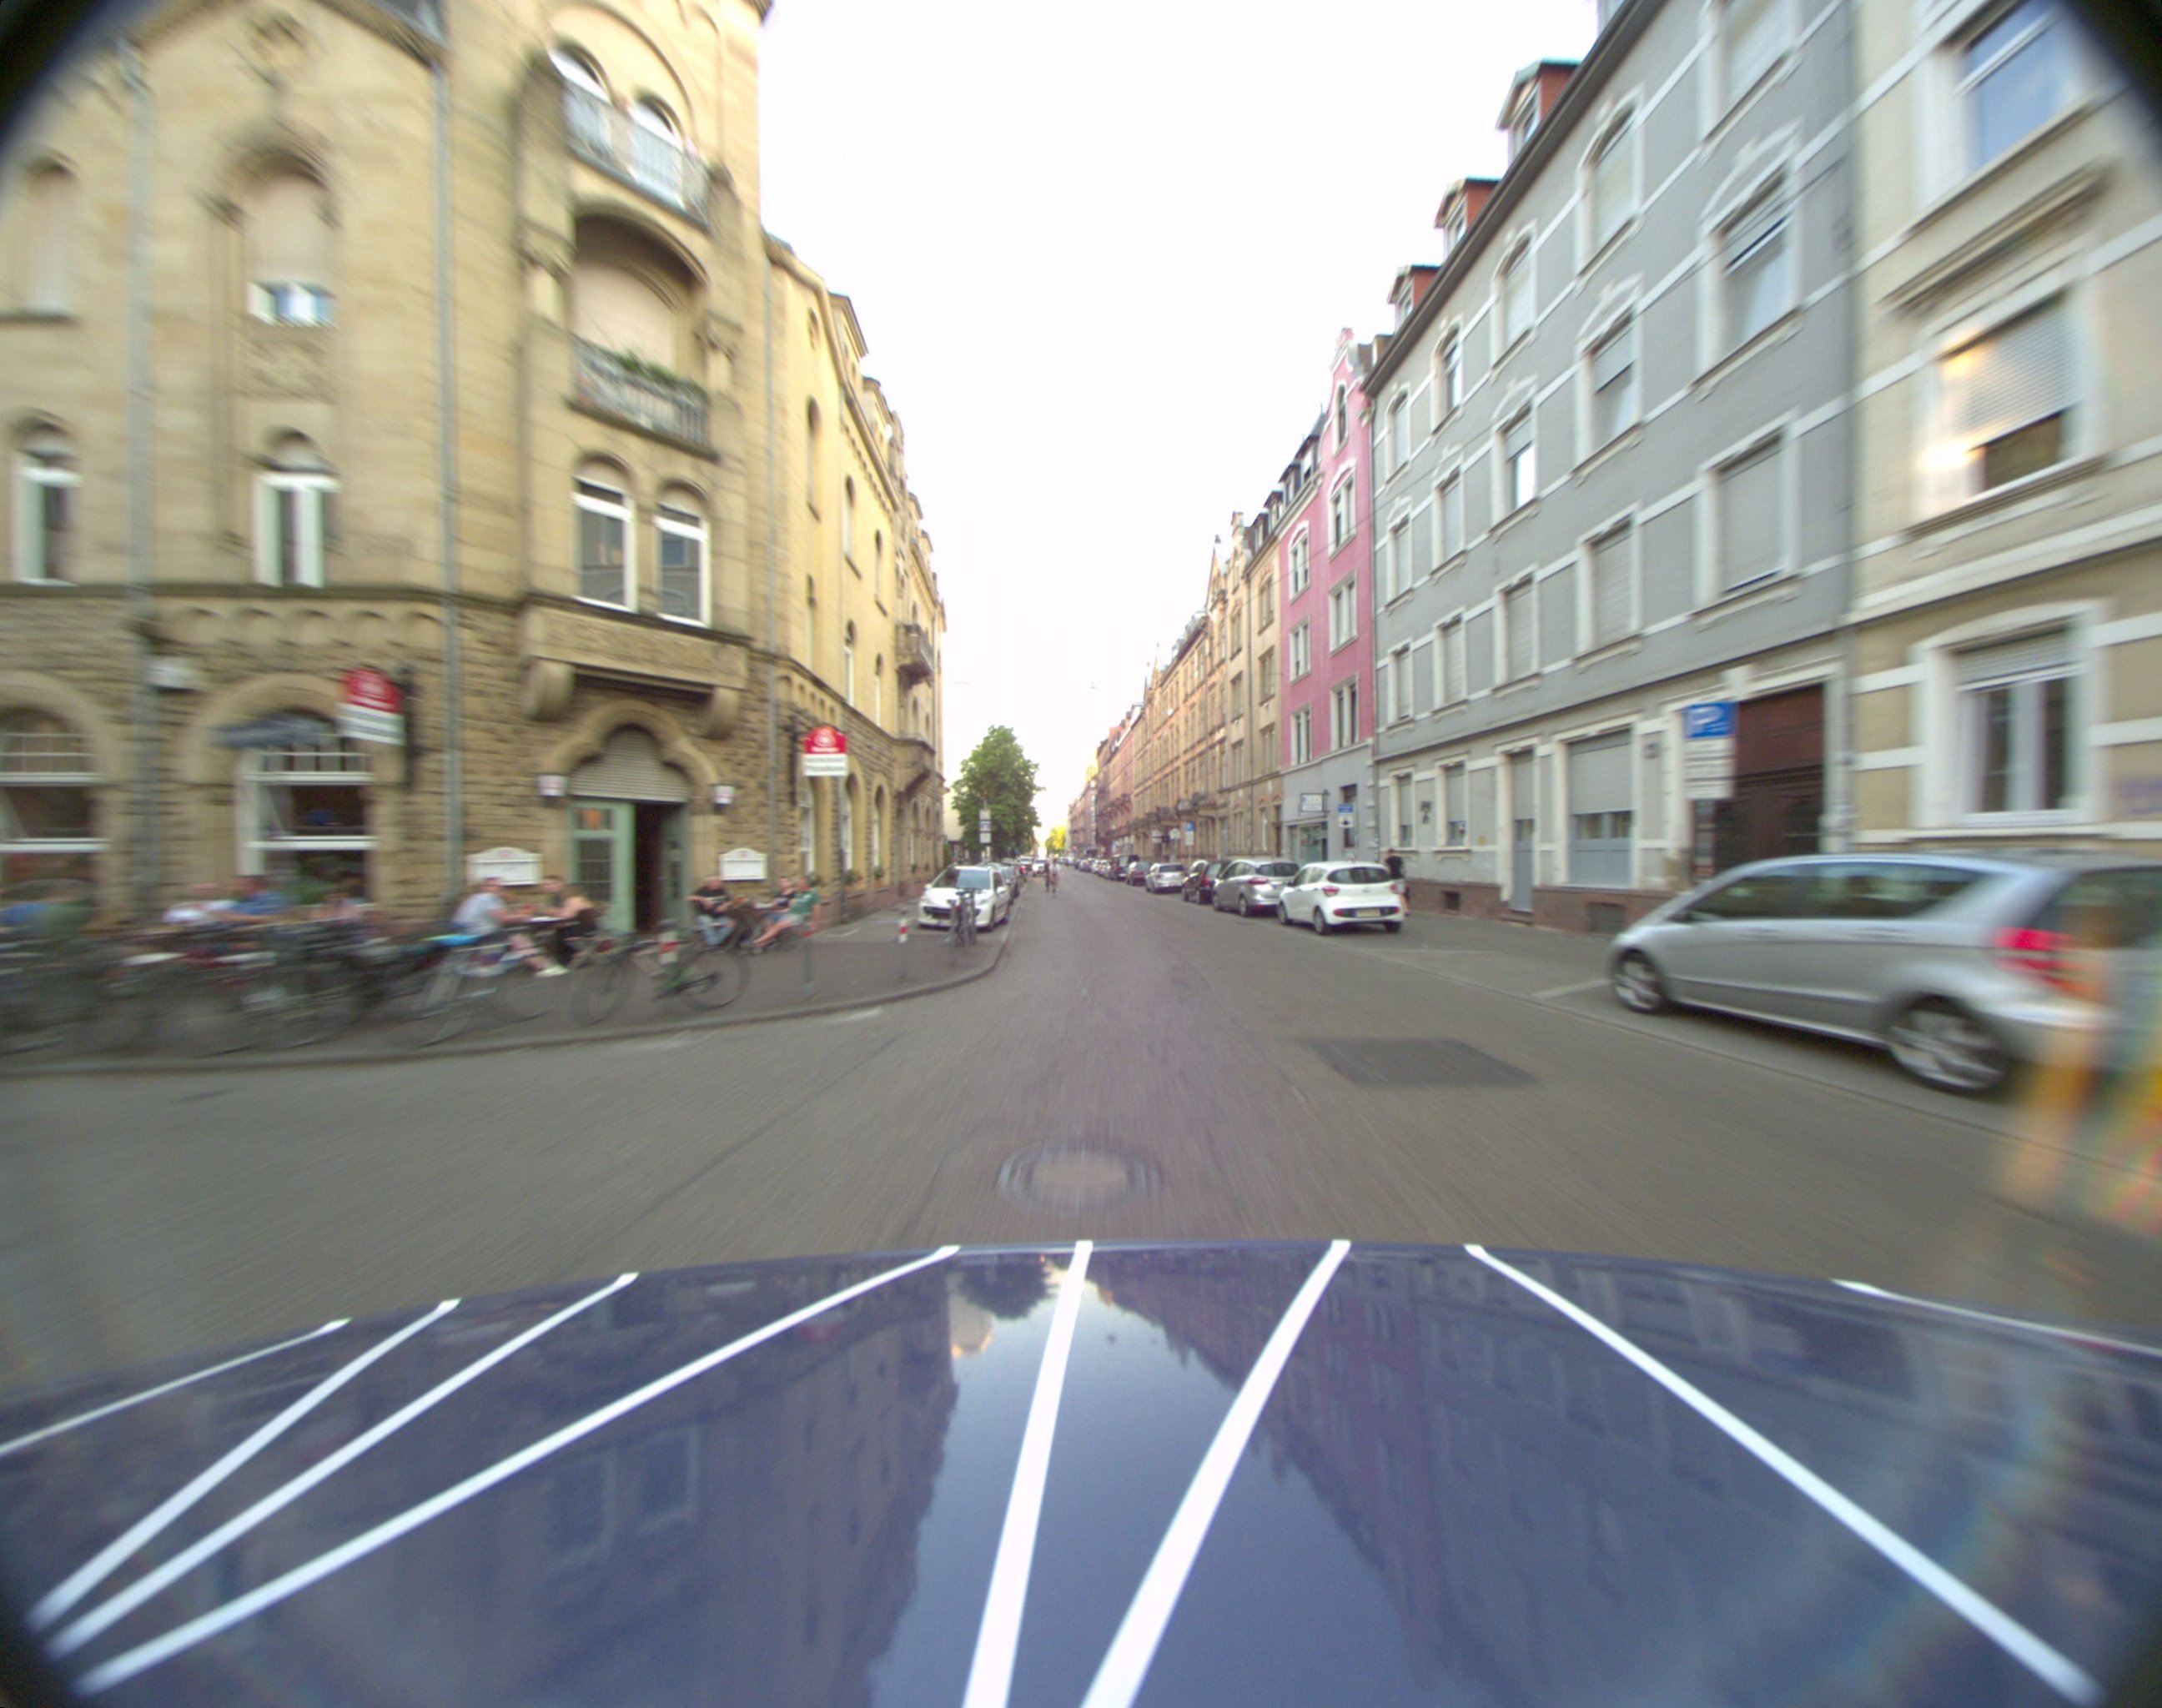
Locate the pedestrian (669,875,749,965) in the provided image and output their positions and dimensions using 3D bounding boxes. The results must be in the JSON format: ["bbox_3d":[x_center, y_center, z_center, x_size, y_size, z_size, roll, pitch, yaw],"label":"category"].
[{"bbox_3d":[-6.133,1.051,12.530,1.009,1.388,0.899,-1,0,44],"label":"pedestrian"}]

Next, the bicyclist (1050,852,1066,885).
[{"bbox_3d":[-1.068,0.661,34.601,0.686,1.503,0.973,-1,0,-3],"label":"bicyclist"}]

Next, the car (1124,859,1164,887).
[{"bbox_3d":[3.823,1.102,46.718,1.758,1.466,4.278,-6,0,-3],"label":"car"}]

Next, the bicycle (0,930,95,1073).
[{"bbox_3d":[-9.935,1.288,6.509,1.836,1.154,0.538,-1,0,-17],"label":"bicycle"}]

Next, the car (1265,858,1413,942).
[{"bbox_3d":[5.551,0.913,16.901,1.758,1.567,3.926,-3,0,-3],"label":"car"}]

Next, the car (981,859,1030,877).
[{"bbox_3d":[-6.797,1.245,68.394,4.302,1.527,1.822,-1,0,-4],"label":"car"}]

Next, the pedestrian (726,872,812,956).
[{"bbox_3d":[-5.508,1.028,13.446,0.839,1.388,1.106,1,-1,25],"label":"pedestrian"}]

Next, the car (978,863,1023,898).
[{"bbox_3d":[-3.672,1.186,35.396,1.768,1.476,4.556,1,0,-2],"label":"car"}]

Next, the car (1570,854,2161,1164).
[{"bbox_3d":[6.270,0.836,6.162,1.805,1.583,4.144,-3,0,-1],"label":"car"}]

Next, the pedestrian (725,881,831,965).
[{"bbox_3d":[-5.067,1.111,12.740,0.839,1.278,1.422,1,1,44],"label":"pedestrian"}]

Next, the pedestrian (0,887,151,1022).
[{"bbox_3d":[-11.333,1.095,8.585,0.716,1.396,0.793,-1,0,-19],"label":"pedestrian"}]

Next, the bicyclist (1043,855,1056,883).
[{"bbox_3d":[-1.687,0.792,40.901,0.686,1.503,0.973,-1,0,-3],"label":"bicyclist"}]

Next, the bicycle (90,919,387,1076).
[{"bbox_3d":[-7.633,1.235,7.037,0.502,1.105,1.836,-1,0,10],"label":"bicycle"}]

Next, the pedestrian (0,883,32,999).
[{"bbox_3d":[-13.694,1.076,9.202,0.902,1.417,0.714,-1,0,-6],"label":"pedestrian"}]

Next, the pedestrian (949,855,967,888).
[{"bbox_3d":[-6.790,0.964,42.086,0.851,1.756,0.833,0,0,1],"label":"pedestrian"}]

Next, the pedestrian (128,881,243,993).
[{"bbox_3d":[-11.514,1.040,9.795,0.592,1.350,0.737,-1,0,-6],"label":"pedestrian"}]

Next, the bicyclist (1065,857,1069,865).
[{"bbox_3d":[-2.439,1.213,133.062,0.686,1.503,1.036,-1,0,-3],"label":"bicyclist"}]

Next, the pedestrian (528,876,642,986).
[{"bbox_3d":[-7.036,1.047,10.803,0.839,1.389,1.106,1,2,38],"label":"pedestrian"}]

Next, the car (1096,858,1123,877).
[{"bbox_3d":[2.548,1.238,68.992,1.758,1.466,4.055,-6,0,-6],"label":"car"}]

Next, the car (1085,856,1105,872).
[{"bbox_3d":[1.610,1.126,88.329,1.758,1.663,4.055,-6,0,-6],"label":"car"}]

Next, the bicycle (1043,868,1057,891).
[{"bbox_3d":[-1.674,1.338,40.743,0.686,1.144,2.114,-1,0,-3],"label":"bicycle"}]

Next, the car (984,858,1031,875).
[{"bbox_3d":[-6.812,1.119,70.705,4.302,1.519,1.822,-1,0,-4],"label":"car"}]

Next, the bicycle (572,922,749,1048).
[{"bbox_3d":[-4.203,1.264,7.670,1.478,1.033,0.431,-1,1,-44],"label":"bicycle"}]

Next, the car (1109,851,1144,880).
[{"bbox_3d":[3.335,0.850,56.263,1.874,1.949,4.291,-4,0,-5],"label":"car"}]

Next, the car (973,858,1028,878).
[{"bbox_3d":[-6.341,1.078,60.251,4.302,1.519,1.822,-1,0,-4],"label":"car"}]

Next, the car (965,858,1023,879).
[{"bbox_3d":[-6.584,1.069,57.839,4.302,1.519,1.822,-1,0,-4],"label":"car"}]

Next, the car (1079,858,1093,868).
[{"bbox_3d":[0.735,1.361,114.679,1.758,1.426,4.056,-6,0,-3],"label":"car"}]

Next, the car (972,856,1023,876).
[{"bbox_3d":[-7.177,1.021,65.551,4.302,1.666,1.822,-1,0,-4],"label":"car"}]

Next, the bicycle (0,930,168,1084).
[{"bbox_3d":[-8.905,1.251,6.201,1.836,1.144,0.557,-1,0,-17],"label":"bicycle"}]

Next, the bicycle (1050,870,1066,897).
[{"bbox_3d":[-1.057,1.319,34.574,0.686,1.144,2.114,-1,0,-3],"label":"bicycle"}]

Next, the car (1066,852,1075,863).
[{"bbox_3d":[-2.358,0.769,171.784,1.758,2.264,4.056,-6,0,-2],"label":"car"}]

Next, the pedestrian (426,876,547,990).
[{"bbox_3d":[-8.183,1.040,10.473,0.839,1.389,1.106,1,2,38],"label":"pedestrian"}]

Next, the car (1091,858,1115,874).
[{"bbox_3d":[2.234,1.223,78.037,1.758,1.426,4.055,-6,0,-6],"label":"car"}]

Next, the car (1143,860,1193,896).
[{"bbox_3d":[4.265,1.144,37.657,1.758,1.466,4.056,-6,0,-2],"label":"car"}]

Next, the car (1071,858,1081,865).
[{"bbox_3d":[-1.083,1.581,162.245,1.758,1.426,4.056,-6,0,-2],"label":"car"}]

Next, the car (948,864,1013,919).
[{"bbox_3d":[-3.080,1.100,23.750,1.769,1.476,4.554,2,0,-6],"label":"car"}]

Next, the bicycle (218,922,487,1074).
[{"bbox_3d":[-6.599,1.243,7.045,0.512,1.060,1.836,-1,0,10],"label":"bicycle"}]

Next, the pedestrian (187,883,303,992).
[{"bbox_3d":[-10.787,1.054,9.826,0.731,1.313,0.667,-1,0,-6],"label":"pedestrian"}]

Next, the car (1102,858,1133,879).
[{"bbox_3d":[2.912,1.162,61.405,1.758,1.466,4.055,-6,0,-6],"label":"car"}]

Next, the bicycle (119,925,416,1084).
[{"bbox_3d":[-7.134,1.254,6.821,0.475,1.064,1.836,-1,0,10],"label":"bicycle"}]

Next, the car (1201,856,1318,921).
[{"bbox_3d":[5.009,0.915,22.039,1.838,1.583,4.670,-3,0,-5],"label":"car"}]

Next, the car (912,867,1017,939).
[{"bbox_3d":[-2.739,1.108,18.895,1.768,1.476,4.464,2,0,1],"label":"car"}]

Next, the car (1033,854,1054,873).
[{"bbox_3d":[-3.735,0.939,75.084,1.957,1.729,4.283,-3,0,-3],"label":"car"}]

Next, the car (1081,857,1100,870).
[{"bbox_3d":[1.170,1.187,94.323,1.758,1.426,4.055,-6,0,-6],"label":"car"}]

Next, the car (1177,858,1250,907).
[{"bbox_3d":[4.820,0.999,28.255,1.758,1.583,4.056,-3,0,-3],"label":"car"}]

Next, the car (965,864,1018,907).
[{"bbox_3d":[-3.385,1.179,29.498,1.768,1.476,4.555,1,0,-4],"label":"car"}]

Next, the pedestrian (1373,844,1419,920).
[{"bbox_3d":[8.122,0.711,19.625,0.851,1.937,0.833,-1,0,1],"label":"pedestrian"}]

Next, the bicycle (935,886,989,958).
[{"bbox_3d":[-2.170,1.204,14.063,0.686,1.144,2.115,2,0,-2],"label":"bicycle"}]

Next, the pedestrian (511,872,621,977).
[{"bbox_3d":[-7.594,0.997,11.231,0.839,1.389,1.106,1,2,38],"label":"pedestrian"}]

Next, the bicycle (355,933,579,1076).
[{"bbox_3d":[-5.531,1.306,6.992,0.447,0.974,1.707,-1,0,10],"label":"bicycle"}]

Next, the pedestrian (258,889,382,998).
[{"bbox_3d":[-9.675,1.107,9.702,0.706,1.275,0.877,-1,0,-7],"label":"pedestrian"}]

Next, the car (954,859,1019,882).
[{"bbox_3d":[-6.372,1.109,51.643,4.302,1.443,1.822,-1,0,-4],"label":"car"}]

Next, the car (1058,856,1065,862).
[{"bbox_3d":[-5.365,1.471,209.681,1.758,1.426,4.056,-6,0,-2],"label":"car"}]

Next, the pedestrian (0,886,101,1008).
[{"bbox_3d":[-12.830,1.107,9.290,0.617,1.389,0.771,0,2,1],"label":"pedestrian"}]

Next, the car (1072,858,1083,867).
[{"bbox_3d":[-0.650,1.539,134.334,1.758,1.426,4.056,-6,0,-2],"label":"car"}]

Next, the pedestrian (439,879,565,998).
[{"bbox_3d":[-7.630,1.066,10.035,0.839,1.389,1.106,1,2,38],"label":"pedestrian"}]
